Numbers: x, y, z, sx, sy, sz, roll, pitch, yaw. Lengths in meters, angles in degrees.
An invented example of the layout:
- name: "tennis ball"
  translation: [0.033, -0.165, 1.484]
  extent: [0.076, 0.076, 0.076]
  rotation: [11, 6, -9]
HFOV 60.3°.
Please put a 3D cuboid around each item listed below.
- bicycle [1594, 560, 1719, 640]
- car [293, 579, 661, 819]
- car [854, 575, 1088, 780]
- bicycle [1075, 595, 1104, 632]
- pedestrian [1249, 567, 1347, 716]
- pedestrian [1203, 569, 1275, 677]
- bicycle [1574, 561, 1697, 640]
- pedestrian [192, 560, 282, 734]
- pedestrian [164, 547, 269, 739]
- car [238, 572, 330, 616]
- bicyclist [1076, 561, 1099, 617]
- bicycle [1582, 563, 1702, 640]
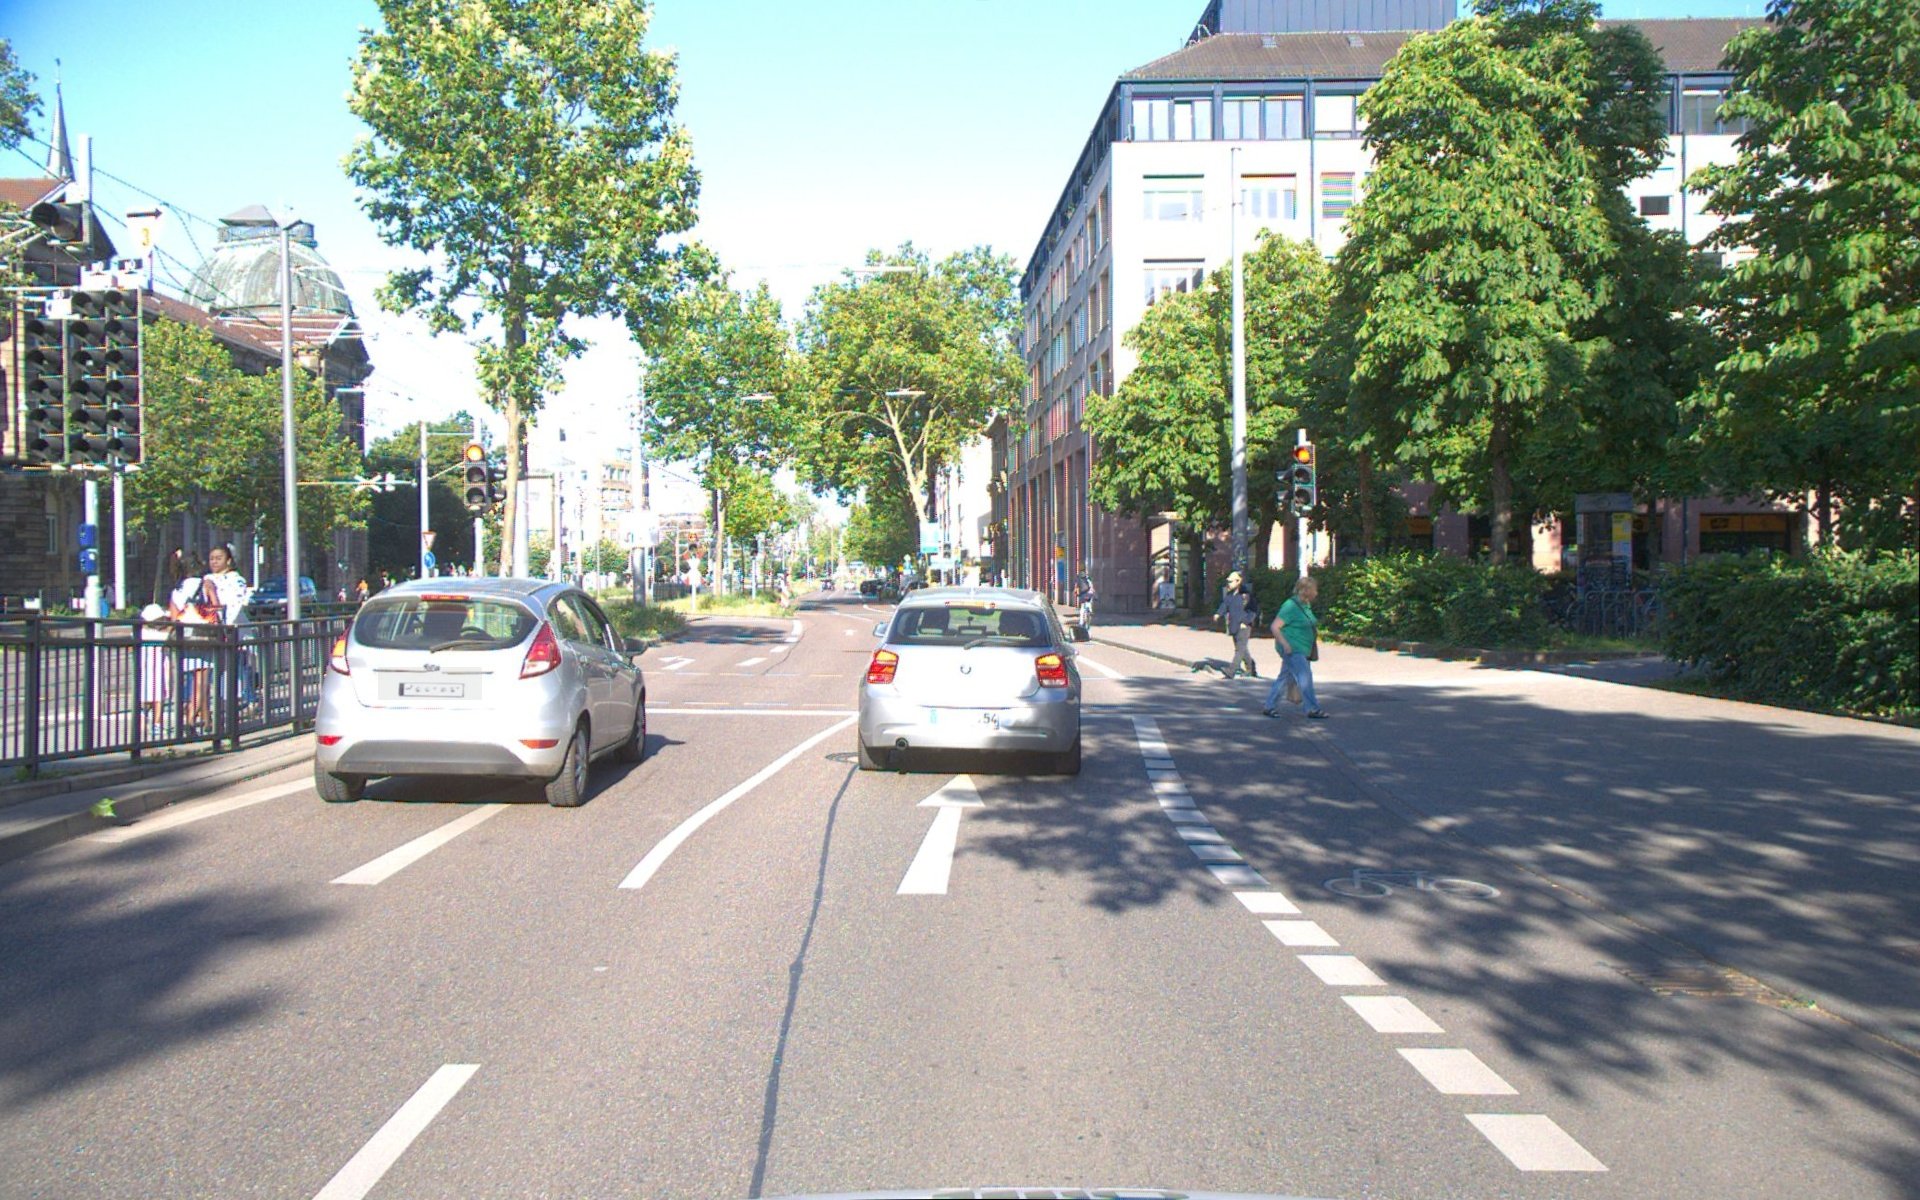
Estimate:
- name: "bicycle"
  translation: [12.468, -0.003, 29.624]
  extent: [1.955, 1.337, 0.574]
  rotation: [-2, 1, 0]
- name: "car"
  translation: [-3.235, 0.588, 11.785]
  extent: [1.627, 1.434, 3.631]
  rotation: [0, 0, -2]
- name: "car"
  translation: [0.211, 0.533, 13.985]
  extent: [1.693, 1.414, 3.842]
  rotation: [1, 2, 4]
- name: "bicycle"
  translation: [3.939, 0.407, 50.357]
  extent: [0.814, 1.059, 1.876]
  rotation: [-1, 1, 6]
- name: "pedestrian"
  translation: [3.752, 0.451, 18.356]
  extent: [0.815, 1.603, 0.737]
  rotation: [-1, 0, 34]
- name: "pedestrian"
  translation: [4.370, 0.355, 25.923]
  extent: [0.925, 1.657, 0.626]
  rotation: [0, 0, -16]
- name: "bicycle"
  translation: [12.217, 0.010, 29.932]
  extent: [1.955, 1.337, 0.574]
  rotation: [-2, 1, 0]
- name: "pedestrian"
  translation: [-7.041, 0.454, 16.130]
  extent: [0.627, 1.647, 0.640]
  rotation: [-1, -2, -7]
- name: "pedestrian"
  translation: [-6.307, 0.355, 14.058]
  extent: [0.619, 1.584, 0.646]
  rotation: [-1, 1, -7]
- name: "car"
  translation: [-26.670, -0.269, 65.424]
  extent: [1.952, 1.653, 4.001]
  rotation: [0, 1, 1]
- name: "bicyclist"
  translation: [3.894, -0.336, 50.413]
  extent: [0.644, 1.686, 0.765]
  rotation: [-1, 1, 6]
- name: "bicycle"
  translation: [12.590, 0.022, 30.551]
  extent: [1.955, 1.337, 0.574]
  rotation: [-2, 1, 0]
